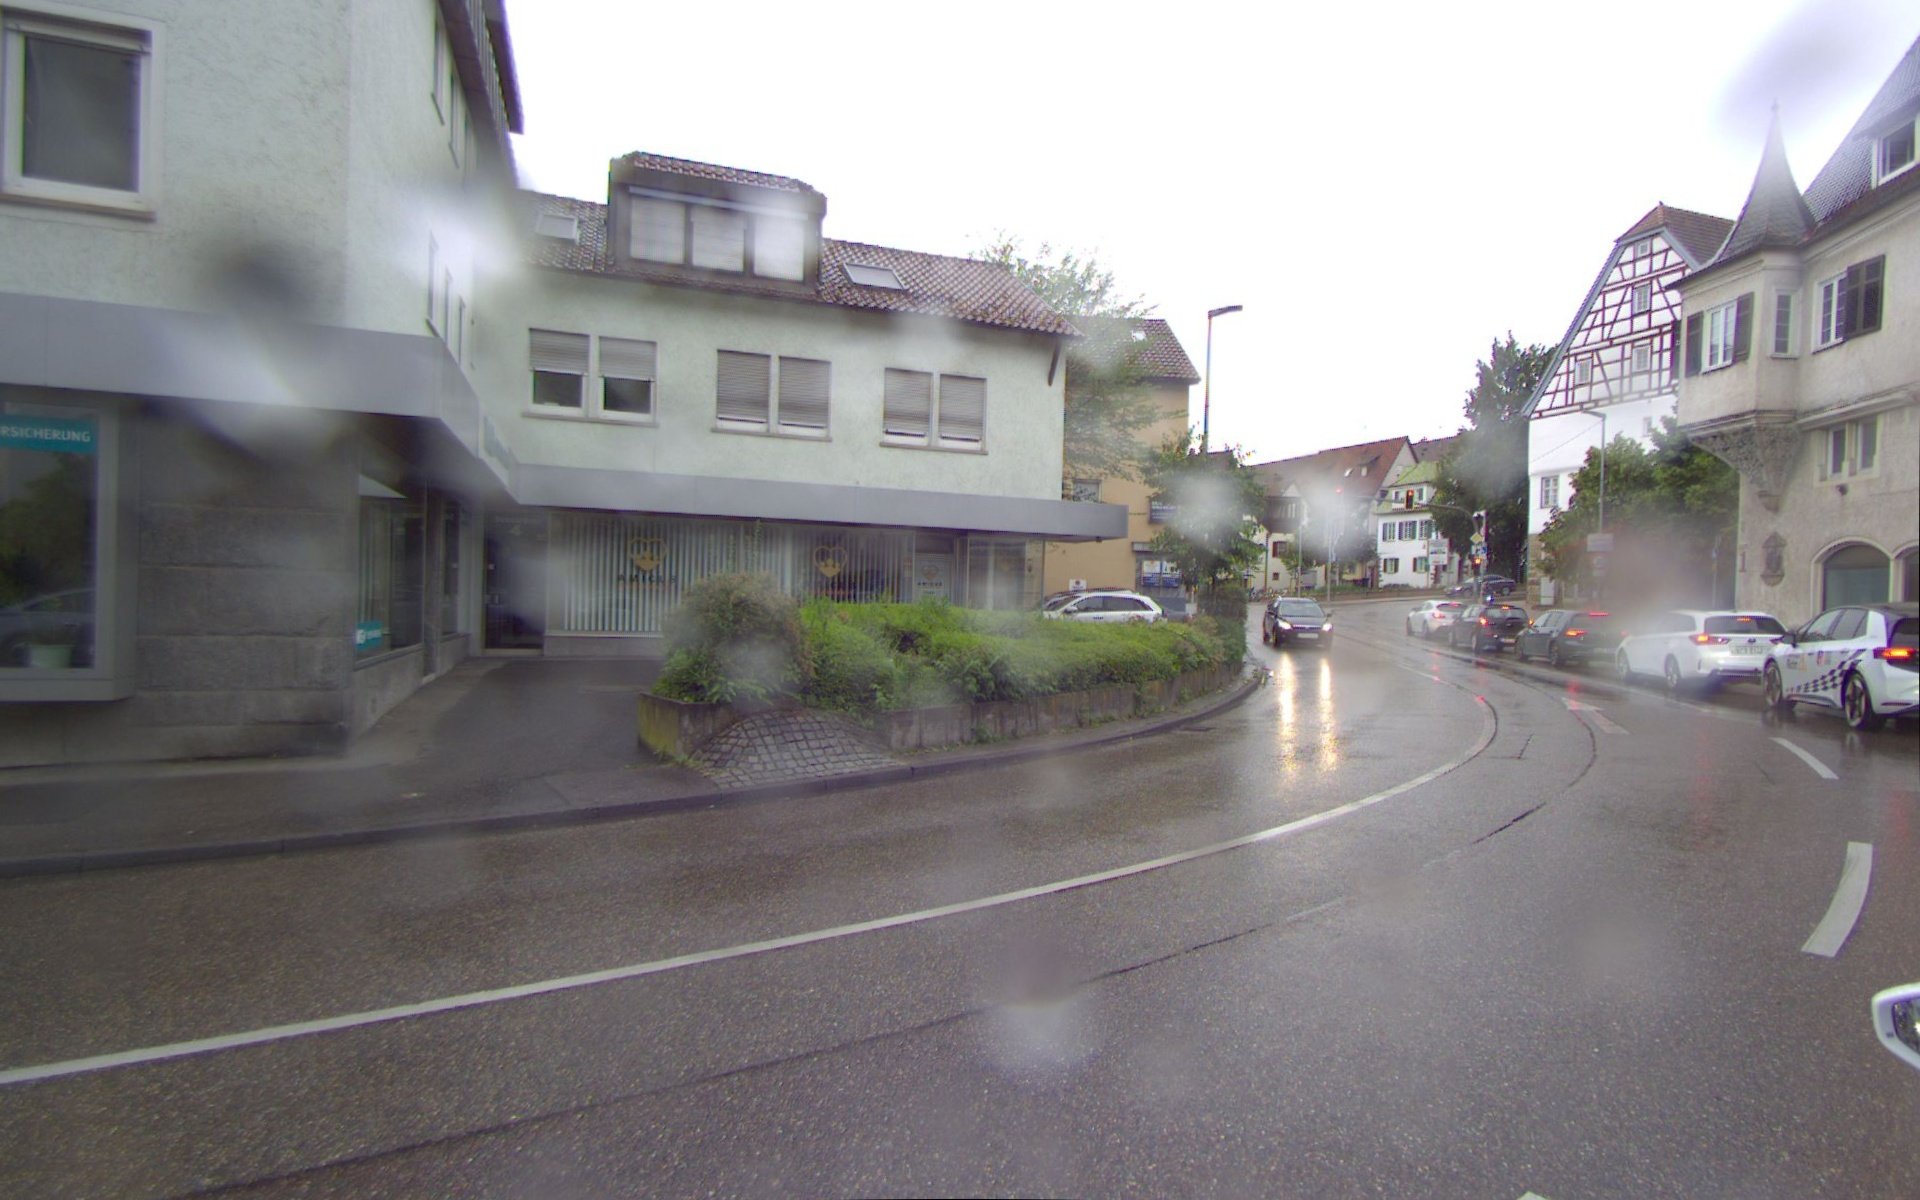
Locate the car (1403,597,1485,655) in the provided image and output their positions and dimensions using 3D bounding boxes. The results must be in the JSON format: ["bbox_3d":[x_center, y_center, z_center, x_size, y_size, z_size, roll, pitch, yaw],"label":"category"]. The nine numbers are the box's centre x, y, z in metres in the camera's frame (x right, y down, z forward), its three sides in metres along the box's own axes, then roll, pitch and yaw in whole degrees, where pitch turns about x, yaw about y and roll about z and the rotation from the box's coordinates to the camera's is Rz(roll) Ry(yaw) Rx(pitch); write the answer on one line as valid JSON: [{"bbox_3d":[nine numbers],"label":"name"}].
[{"bbox_3d":[18.679,0.959,38.953,1.939,2.118,3.963,0,1,11],"label":"car"}]

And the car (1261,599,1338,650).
[{"bbox_3d":[10.815,0.787,32.250,1.702,1.530,4.276,0,-1,10],"label":"car"}]

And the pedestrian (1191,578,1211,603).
[{"bbox_3d":[17.288,-0.699,72.154,0.987,1.765,1.147,1,0,-12],"label":"pedestrian"}]

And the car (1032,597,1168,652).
[{"bbox_3d":[3.895,0.659,28.242,3.472,1.475,1.710,0,1,-8],"label":"car"}]

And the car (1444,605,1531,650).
[{"bbox_3d":[17.017,0.852,32.550,1.634,1.330,3.625,0,1,13],"label":"car"}]

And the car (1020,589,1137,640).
[{"bbox_3d":[3.829,0.472,32.693,3.472,1.597,1.710,0,1,-8],"label":"car"}]

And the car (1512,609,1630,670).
[{"bbox_3d":[15.676,0.962,25.968,1.493,1.380,3.769,0,1,13],"label":"car"}]

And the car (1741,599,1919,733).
[{"bbox_3d":[12.149,0.777,13.309,1.760,1.537,4.239,0,-1,22],"label":"car"}]

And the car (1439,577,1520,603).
[{"bbox_3d":[33.566,-0.637,64.952,4.446,1.409,1.648,1,7,-8],"label":"car"}]

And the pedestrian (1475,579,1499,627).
[{"bbox_3d":[26.445,0.149,50.398,0.851,2.357,1.231,1,0,18],"label":"pedestrian"}]

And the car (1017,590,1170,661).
[{"bbox_3d":[3.308,0.608,25.192,3.472,1.708,1.710,0,1,-8],"label":"car"}]

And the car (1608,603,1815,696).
[{"bbox_3d":[13.963,0.841,18.977,1.755,1.485,4.165,0,1,16],"label":"car"}]
